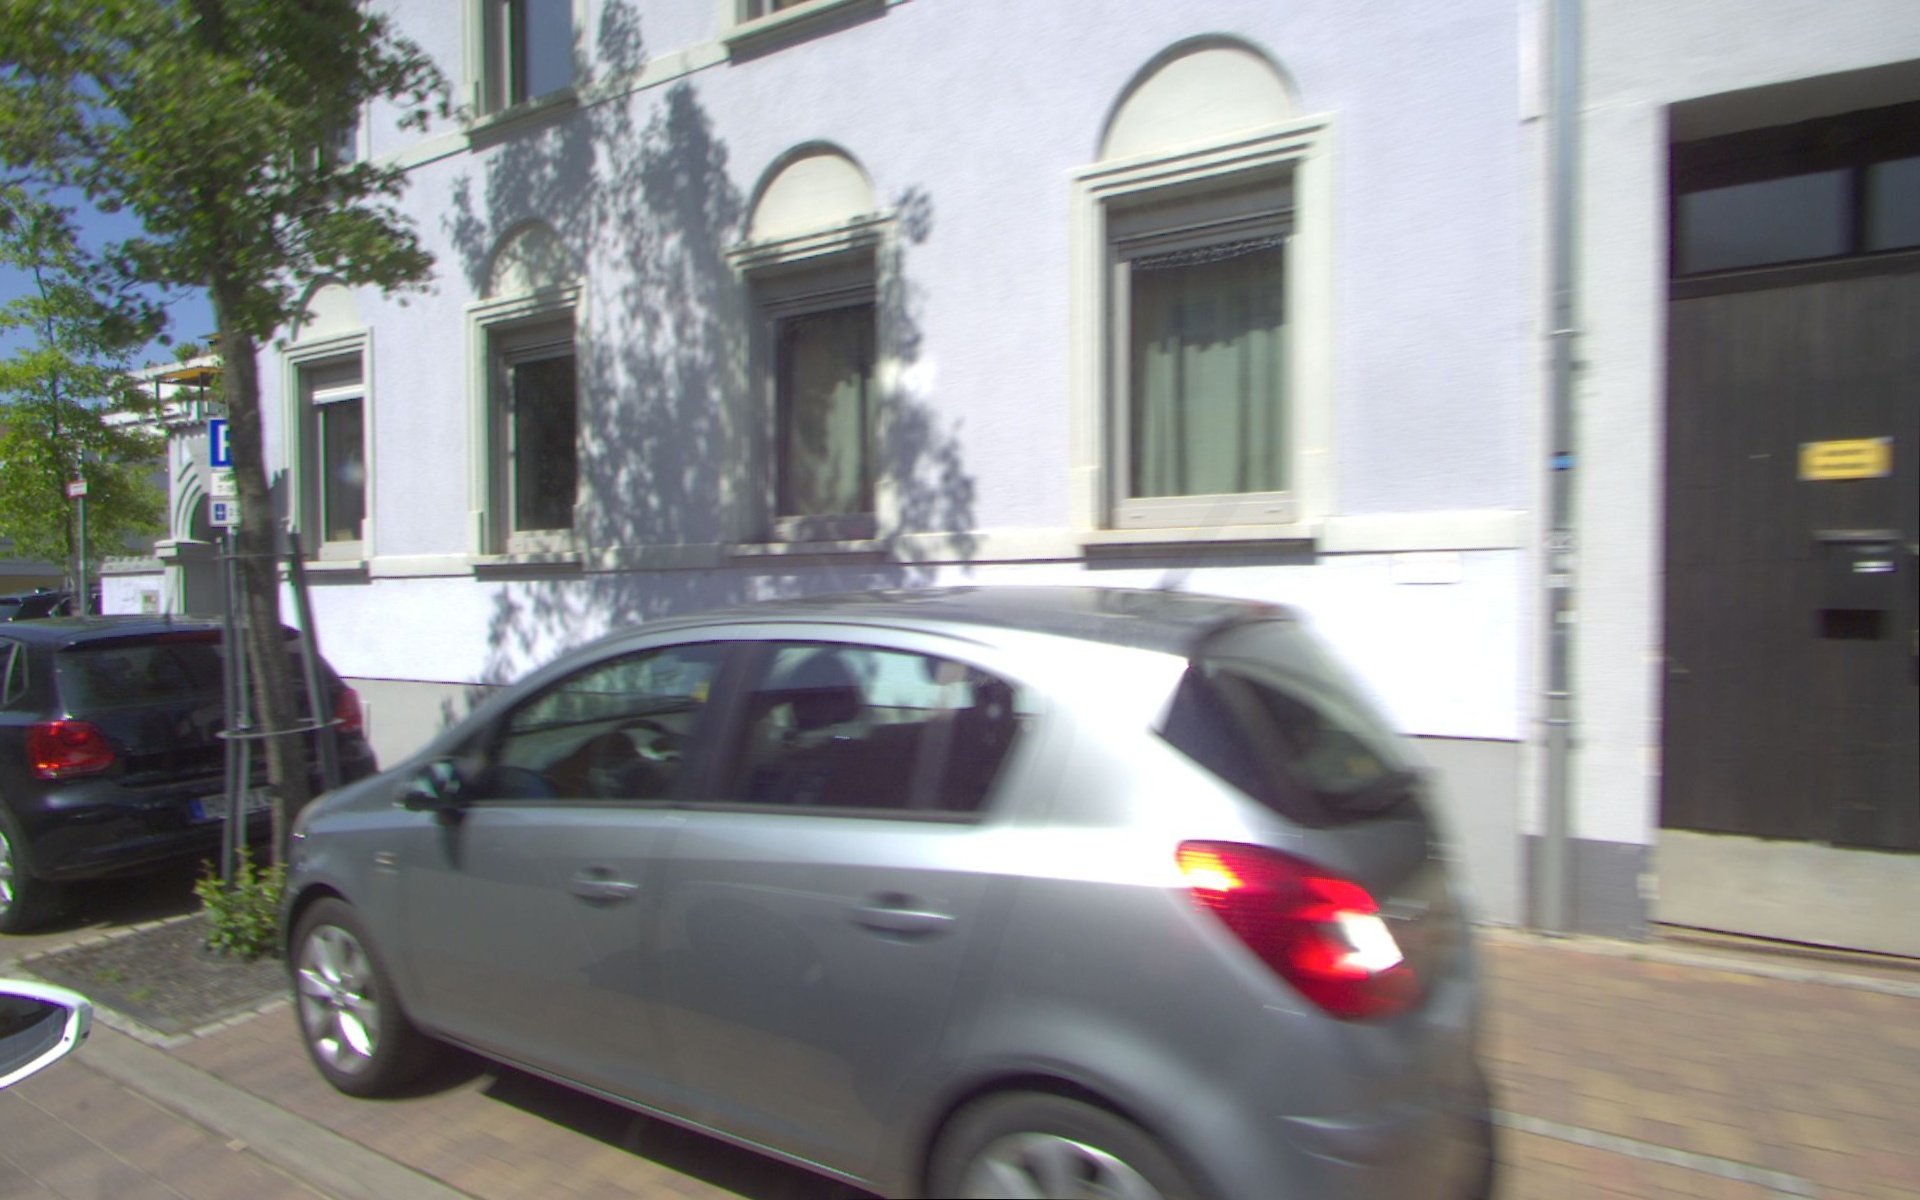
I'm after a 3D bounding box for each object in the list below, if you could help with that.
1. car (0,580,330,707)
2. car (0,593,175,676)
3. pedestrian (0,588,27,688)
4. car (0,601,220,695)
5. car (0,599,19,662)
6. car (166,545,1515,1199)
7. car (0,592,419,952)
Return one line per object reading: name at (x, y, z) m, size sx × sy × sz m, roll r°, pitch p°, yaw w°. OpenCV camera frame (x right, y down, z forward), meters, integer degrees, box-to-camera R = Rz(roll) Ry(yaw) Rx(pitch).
car at (-13.584, 0.599, 16.818) m, size 2.115 × 1.795 × 4.623 m, roll 0°, pitch 1°, yaw 30°
car at (-17.891, 0.641, 18.862) m, size 1.809 × 1.460 × 4.535 m, roll 0°, pitch 1°, yaw 24°
pedestrian at (-17.098, 0.673, 17.622) m, size 0.687 × 1.740 × 0.748 m, roll 0°, pitch 1°, yaw 24°
car at (-15.684, 0.789, 17.782) m, size 1.716 × 1.472 × 3.729 m, roll 0°, pitch 0°, yaw 24°
car at (-24.946, 0.793, 22.921) m, size 1.885 × 1.533 × 4.574 m, roll -1°, pitch 1°, yaw 24°
car at (-0.592, 0.702, 3.159) m, size 4.036 × 1.501 × 1.714 m, roll -1°, pitch 0°, yaw 32°
car at (-5.214, 0.754, 5.951) m, size 3.863 × 1.501 × 1.700 m, roll -1°, pitch 2°, yaw 30°
